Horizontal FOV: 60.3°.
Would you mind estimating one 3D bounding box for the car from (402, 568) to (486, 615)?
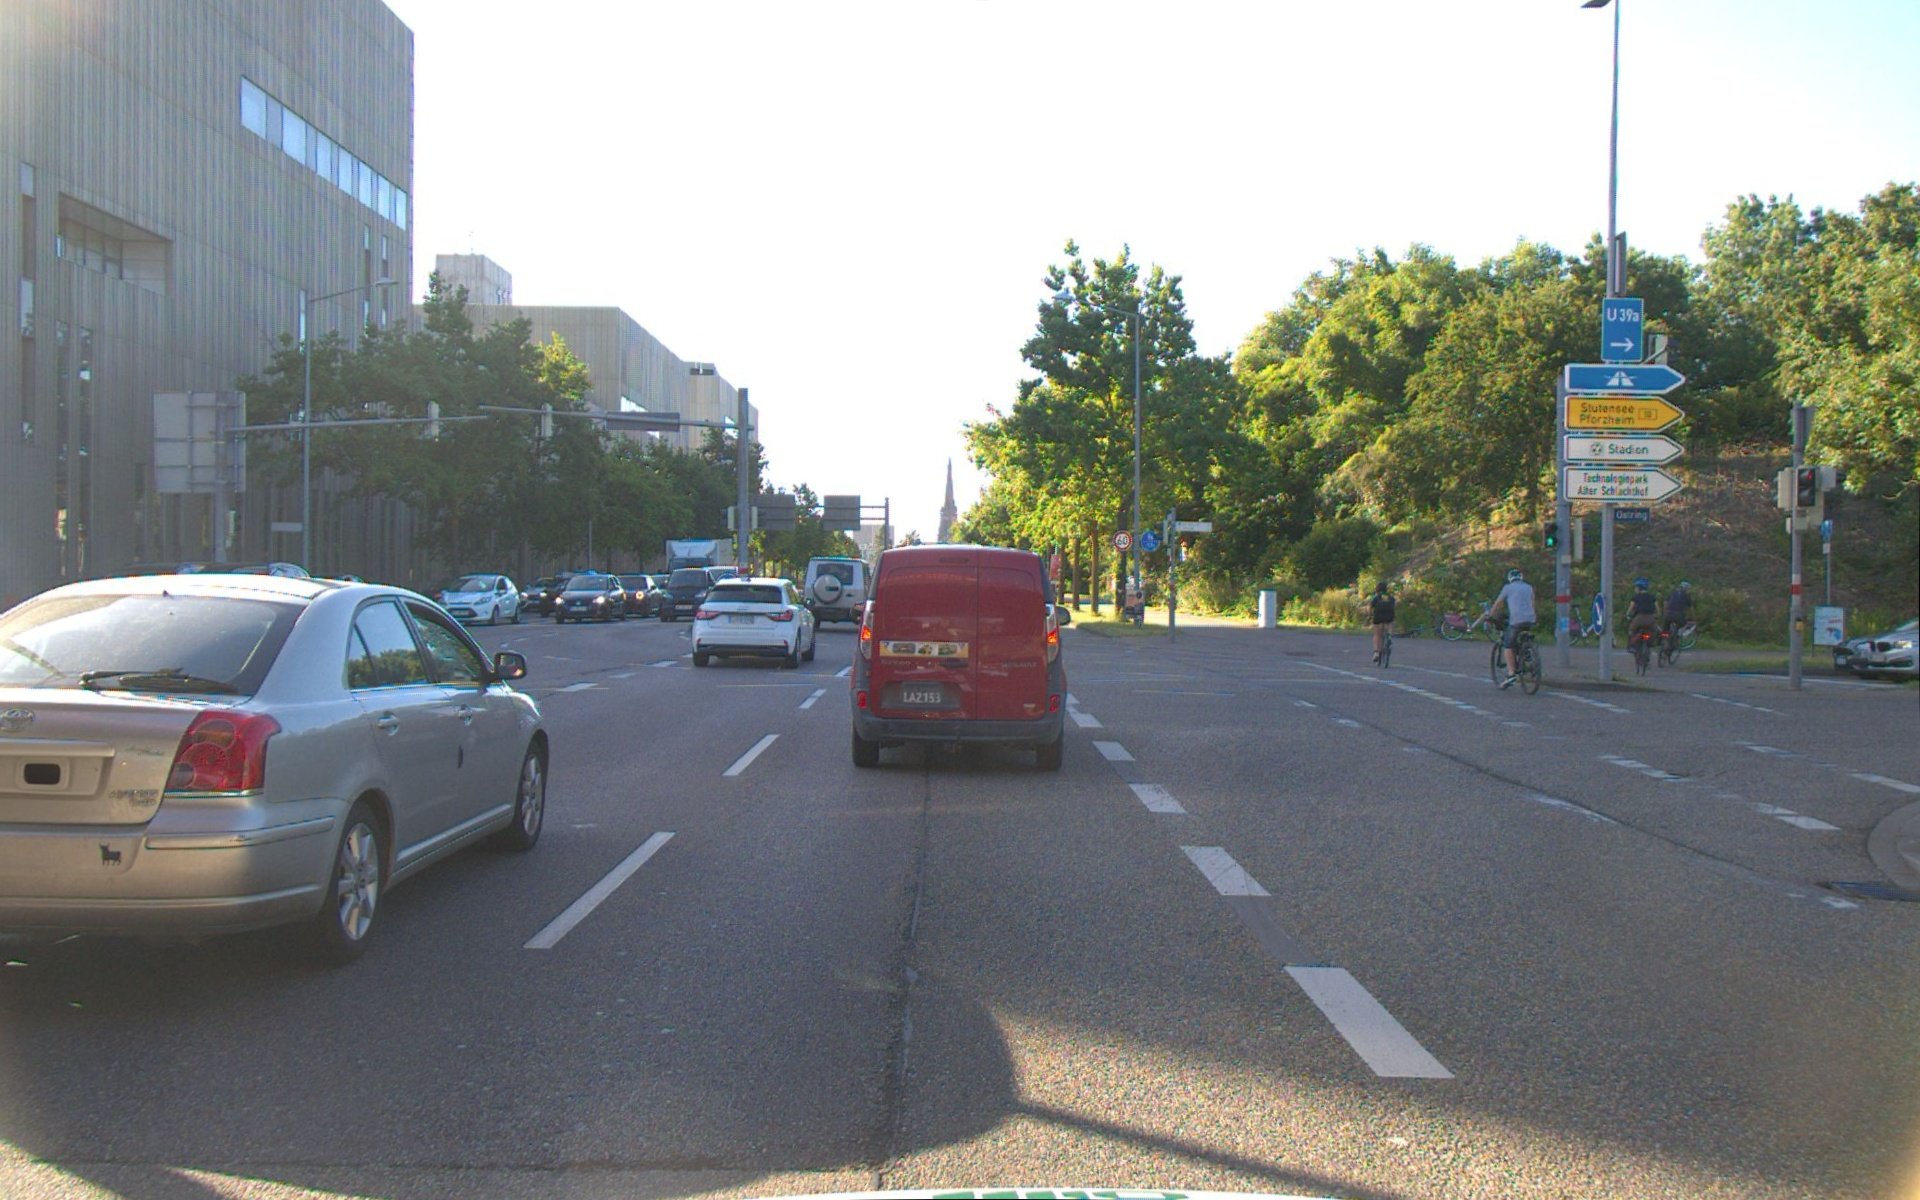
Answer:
[{"bbox_3d":[-17.015,-0.273,54.679,1.613,1.459,3.492,-2,0,0],"label":"car"}]

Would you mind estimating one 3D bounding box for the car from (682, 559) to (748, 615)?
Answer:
[{"bbox_3d":[-8.515,-0.455,57.778,1.721,1.828,4.082,-2,0,-1],"label":"car"}]

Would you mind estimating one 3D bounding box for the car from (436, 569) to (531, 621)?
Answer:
[{"bbox_3d":[-13.950,-0.161,48.635,1.613,1.429,3.978,-2,0,0],"label":"car"}]

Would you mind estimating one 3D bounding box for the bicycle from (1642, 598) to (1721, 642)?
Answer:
[{"bbox_3d":[17.992,0.507,41.282,1.707,1.041,0.594,2,-1,9],"label":"bicycle"}]

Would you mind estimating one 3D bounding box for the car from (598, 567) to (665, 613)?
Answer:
[{"bbox_3d":[-11.111,-0.337,56.189,1.603,1.468,4.075,-2,0,-3],"label":"car"}]

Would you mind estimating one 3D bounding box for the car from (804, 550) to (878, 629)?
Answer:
[{"bbox_3d":[-3.212,-0.242,45.386,1.764,2.023,4.587,2,-1,-2],"label":"car"}]

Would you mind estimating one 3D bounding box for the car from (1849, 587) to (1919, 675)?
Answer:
[{"bbox_3d":[18.793,0.624,29.882,4.452,1.540,1.829,2,-1,5],"label":"car"}]

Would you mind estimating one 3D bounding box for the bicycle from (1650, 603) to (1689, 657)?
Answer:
[{"bbox_3d":[15.452,0.642,35.992,0.654,1.041,1.749,0,3,27],"label":"bicycle"}]

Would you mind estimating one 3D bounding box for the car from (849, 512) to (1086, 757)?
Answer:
[{"bbox_3d":[0.002,0.291,14.679,1.768,1.826,3.998,2,-1,-2],"label":"car"}]

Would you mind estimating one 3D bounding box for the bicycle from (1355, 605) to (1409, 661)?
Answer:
[{"bbox_3d":[8.229,0.634,32.289,0.579,1.041,1.750,2,-1,0],"label":"bicycle"}]

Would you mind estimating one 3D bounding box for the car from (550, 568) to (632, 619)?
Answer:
[{"bbox_3d":[-11.239,-0.205,50.596,1.603,1.468,4.076,-2,0,-1],"label":"car"}]

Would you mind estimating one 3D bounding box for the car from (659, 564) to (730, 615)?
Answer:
[{"bbox_3d":[-8.122,-0.312,50.793,1.603,1.468,3.718,-2,0,-1],"label":"car"}]

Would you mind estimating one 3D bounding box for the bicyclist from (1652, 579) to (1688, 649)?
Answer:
[{"bbox_3d":[15.414,0.295,35.898,0.637,1.506,0.617,1,1,29],"label":"bicyclist"}]

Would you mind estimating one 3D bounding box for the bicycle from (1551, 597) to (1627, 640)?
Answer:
[{"bbox_3d":[16.039,0.478,42.195,1.707,1.041,0.594,2,-1,7],"label":"bicycle"}]

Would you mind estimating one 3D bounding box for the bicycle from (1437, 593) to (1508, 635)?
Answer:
[{"bbox_3d":[13.520,0.378,43.668,1.707,1.041,0.594,2,-1,7],"label":"bicycle"}]

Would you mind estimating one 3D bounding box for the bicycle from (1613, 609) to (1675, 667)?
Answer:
[{"bbox_3d":[12.969,0.720,31.413,0.657,1.041,2.057,1,-1,10],"label":"bicycle"}]

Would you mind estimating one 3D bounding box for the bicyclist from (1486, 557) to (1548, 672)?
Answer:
[{"bbox_3d":[7.782,0.206,23.144,0.579,1.575,0.769,2,-1,0],"label":"bicyclist"}]

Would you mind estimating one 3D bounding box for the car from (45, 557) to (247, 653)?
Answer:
[{"bbox_3d":[-16.370,0.077,33.561,1.787,1.768,4.628,-2,0,0],"label":"car"}]

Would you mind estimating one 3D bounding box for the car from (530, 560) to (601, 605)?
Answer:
[{"bbox_3d":[-14.544,-0.638,61.236,1.613,1.572,4.397,-2,0,-1],"label":"car"}]

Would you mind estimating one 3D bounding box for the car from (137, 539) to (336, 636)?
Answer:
[{"bbox_3d":[-13.648,-0.236,31.506,1.787,1.654,4.529,-2,0,-1],"label":"car"}]

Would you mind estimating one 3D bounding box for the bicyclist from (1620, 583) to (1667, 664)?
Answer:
[{"bbox_3d":[12.981,0.450,31.438,0.651,1.500,0.751,1,-1,10],"label":"bicyclist"}]

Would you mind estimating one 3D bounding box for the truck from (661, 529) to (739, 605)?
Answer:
[{"bbox_3d":[-11.214,-1.394,71.938,2.360,3.079,6.655,-2,0,-1],"label":"truck"}]

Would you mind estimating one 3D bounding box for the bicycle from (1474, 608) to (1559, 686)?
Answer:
[{"bbox_3d":[7.798,0.649,23.246,0.579,1.041,1.750,2,-1,0],"label":"bicycle"}]

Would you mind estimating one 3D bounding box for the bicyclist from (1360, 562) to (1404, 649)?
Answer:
[{"bbox_3d":[8.228,0.112,32.290,0.579,1.642,0.942,2,-1,0],"label":"bicyclist"}]

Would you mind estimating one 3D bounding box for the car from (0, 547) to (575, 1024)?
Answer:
[{"bbox_3d":[-3.090,0.598,7.427,1.698,1.506,4.318,1,0,0],"label":"car"}]

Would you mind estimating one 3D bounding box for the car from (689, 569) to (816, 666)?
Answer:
[{"bbox_3d":[-3.394,0.256,27.631,1.777,1.463,3.729,1,0,-3],"label":"car"}]

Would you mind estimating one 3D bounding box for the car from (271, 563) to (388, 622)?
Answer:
[{"bbox_3d":[-17.097,-0.209,45.027,1.613,1.508,3.978,-2,0,0],"label":"car"}]

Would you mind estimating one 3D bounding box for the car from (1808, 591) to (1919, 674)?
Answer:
[{"bbox_3d":[19.325,0.676,32.394,4.452,1.540,1.829,2,-1,5],"label":"car"}]
